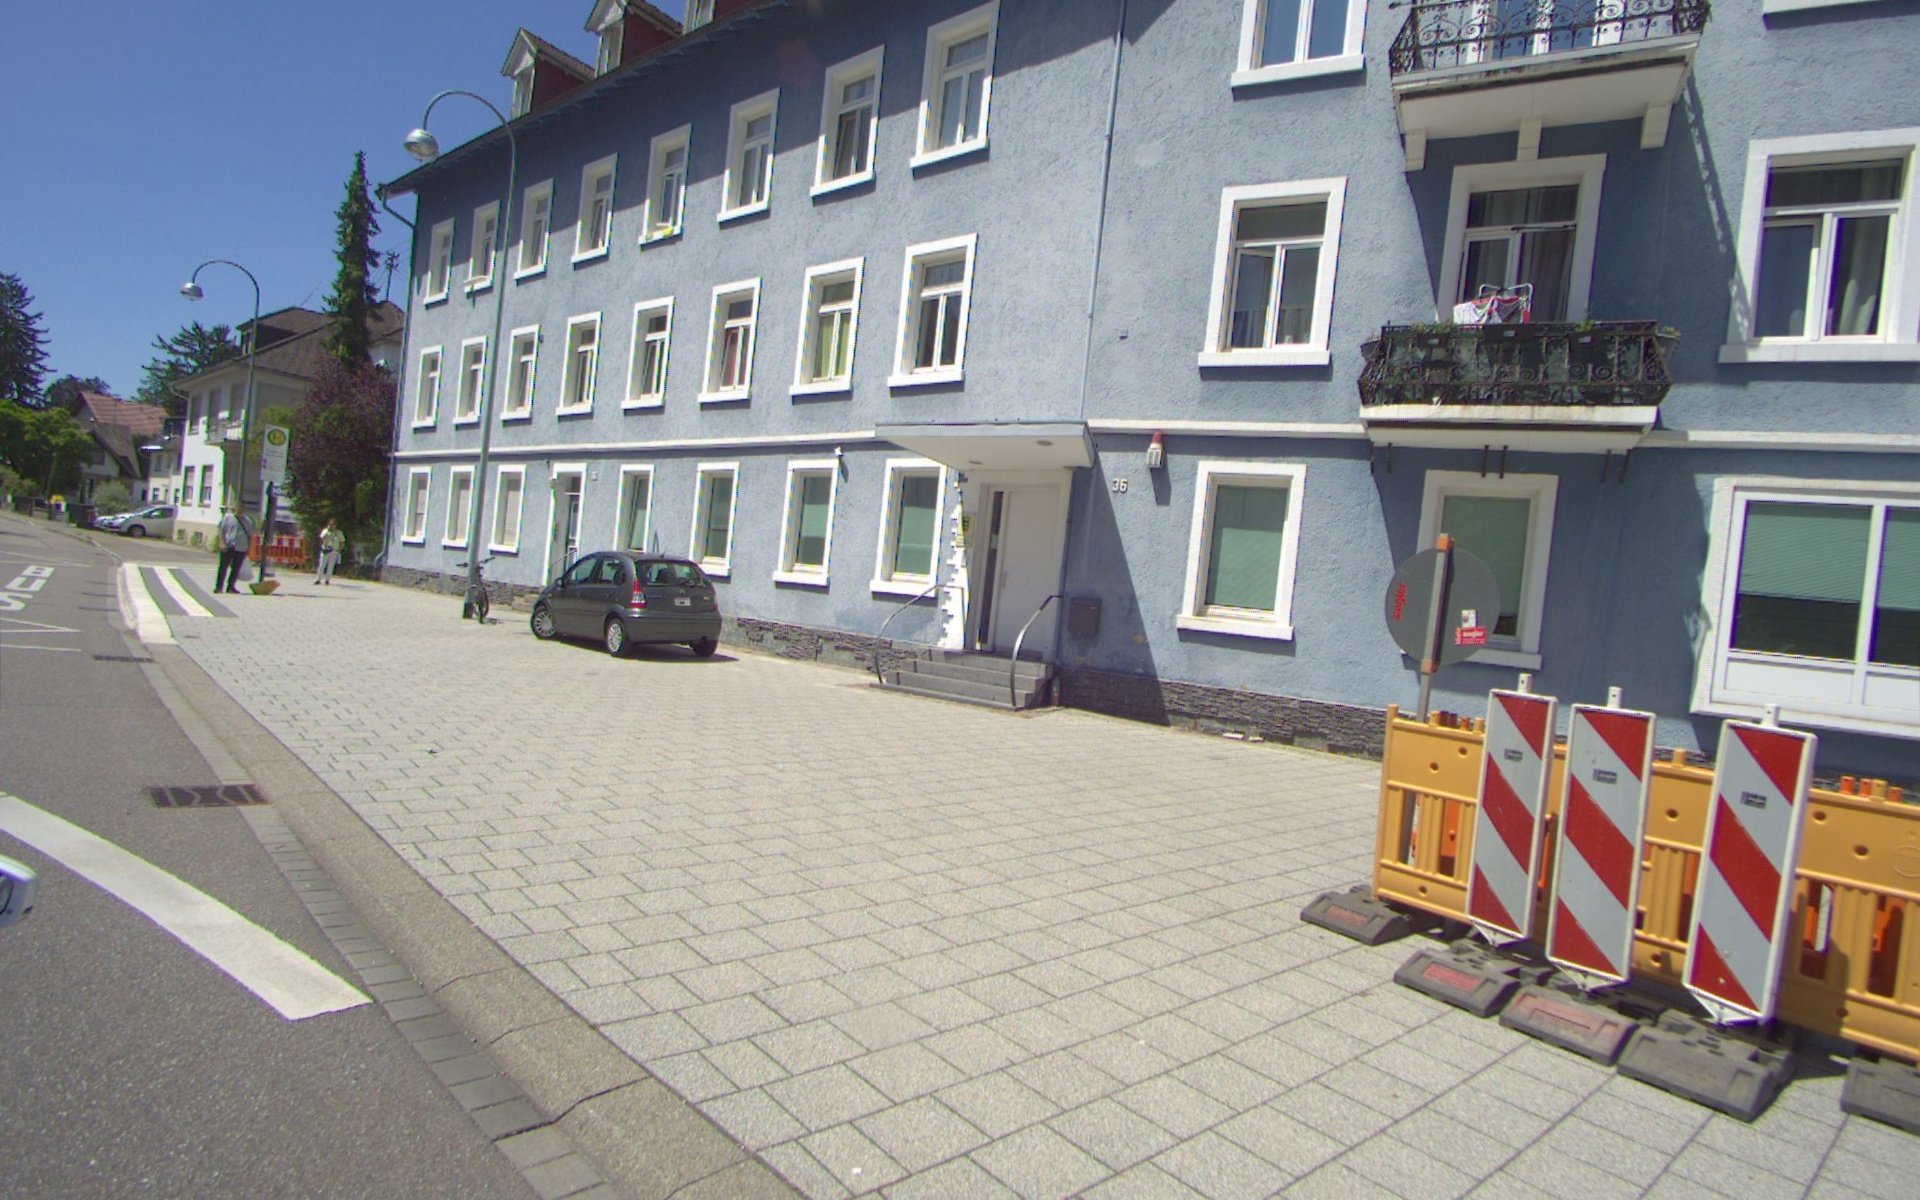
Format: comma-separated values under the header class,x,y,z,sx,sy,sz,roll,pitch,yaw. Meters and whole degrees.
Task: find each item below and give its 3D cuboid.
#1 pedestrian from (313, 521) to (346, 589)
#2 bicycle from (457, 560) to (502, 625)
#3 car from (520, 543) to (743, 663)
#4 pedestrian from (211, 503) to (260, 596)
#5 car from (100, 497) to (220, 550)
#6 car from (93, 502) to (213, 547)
class,x,y,z,sx,sy,sz,roll,pitch,yaw
pedestrian,-15.859,-1.136,25.330,0.609,1.637,0.744,3,3,-31
bicycle,-8.794,-0.150,18.384,0.626,1.053,1.869,3,2,-28
car,-5.251,-0.006,15.843,3.691,1.534,1.752,6,3,44
pedestrian,-14.806,-1.029,20.555,0.739,1.830,0.612,6,4,38
car,-40.549,-3.852,51.081,1.711,1.851,4.299,8,-3,34
car,-42.413,-3.959,52.983,1.745,1.424,4.636,7,-3,43
